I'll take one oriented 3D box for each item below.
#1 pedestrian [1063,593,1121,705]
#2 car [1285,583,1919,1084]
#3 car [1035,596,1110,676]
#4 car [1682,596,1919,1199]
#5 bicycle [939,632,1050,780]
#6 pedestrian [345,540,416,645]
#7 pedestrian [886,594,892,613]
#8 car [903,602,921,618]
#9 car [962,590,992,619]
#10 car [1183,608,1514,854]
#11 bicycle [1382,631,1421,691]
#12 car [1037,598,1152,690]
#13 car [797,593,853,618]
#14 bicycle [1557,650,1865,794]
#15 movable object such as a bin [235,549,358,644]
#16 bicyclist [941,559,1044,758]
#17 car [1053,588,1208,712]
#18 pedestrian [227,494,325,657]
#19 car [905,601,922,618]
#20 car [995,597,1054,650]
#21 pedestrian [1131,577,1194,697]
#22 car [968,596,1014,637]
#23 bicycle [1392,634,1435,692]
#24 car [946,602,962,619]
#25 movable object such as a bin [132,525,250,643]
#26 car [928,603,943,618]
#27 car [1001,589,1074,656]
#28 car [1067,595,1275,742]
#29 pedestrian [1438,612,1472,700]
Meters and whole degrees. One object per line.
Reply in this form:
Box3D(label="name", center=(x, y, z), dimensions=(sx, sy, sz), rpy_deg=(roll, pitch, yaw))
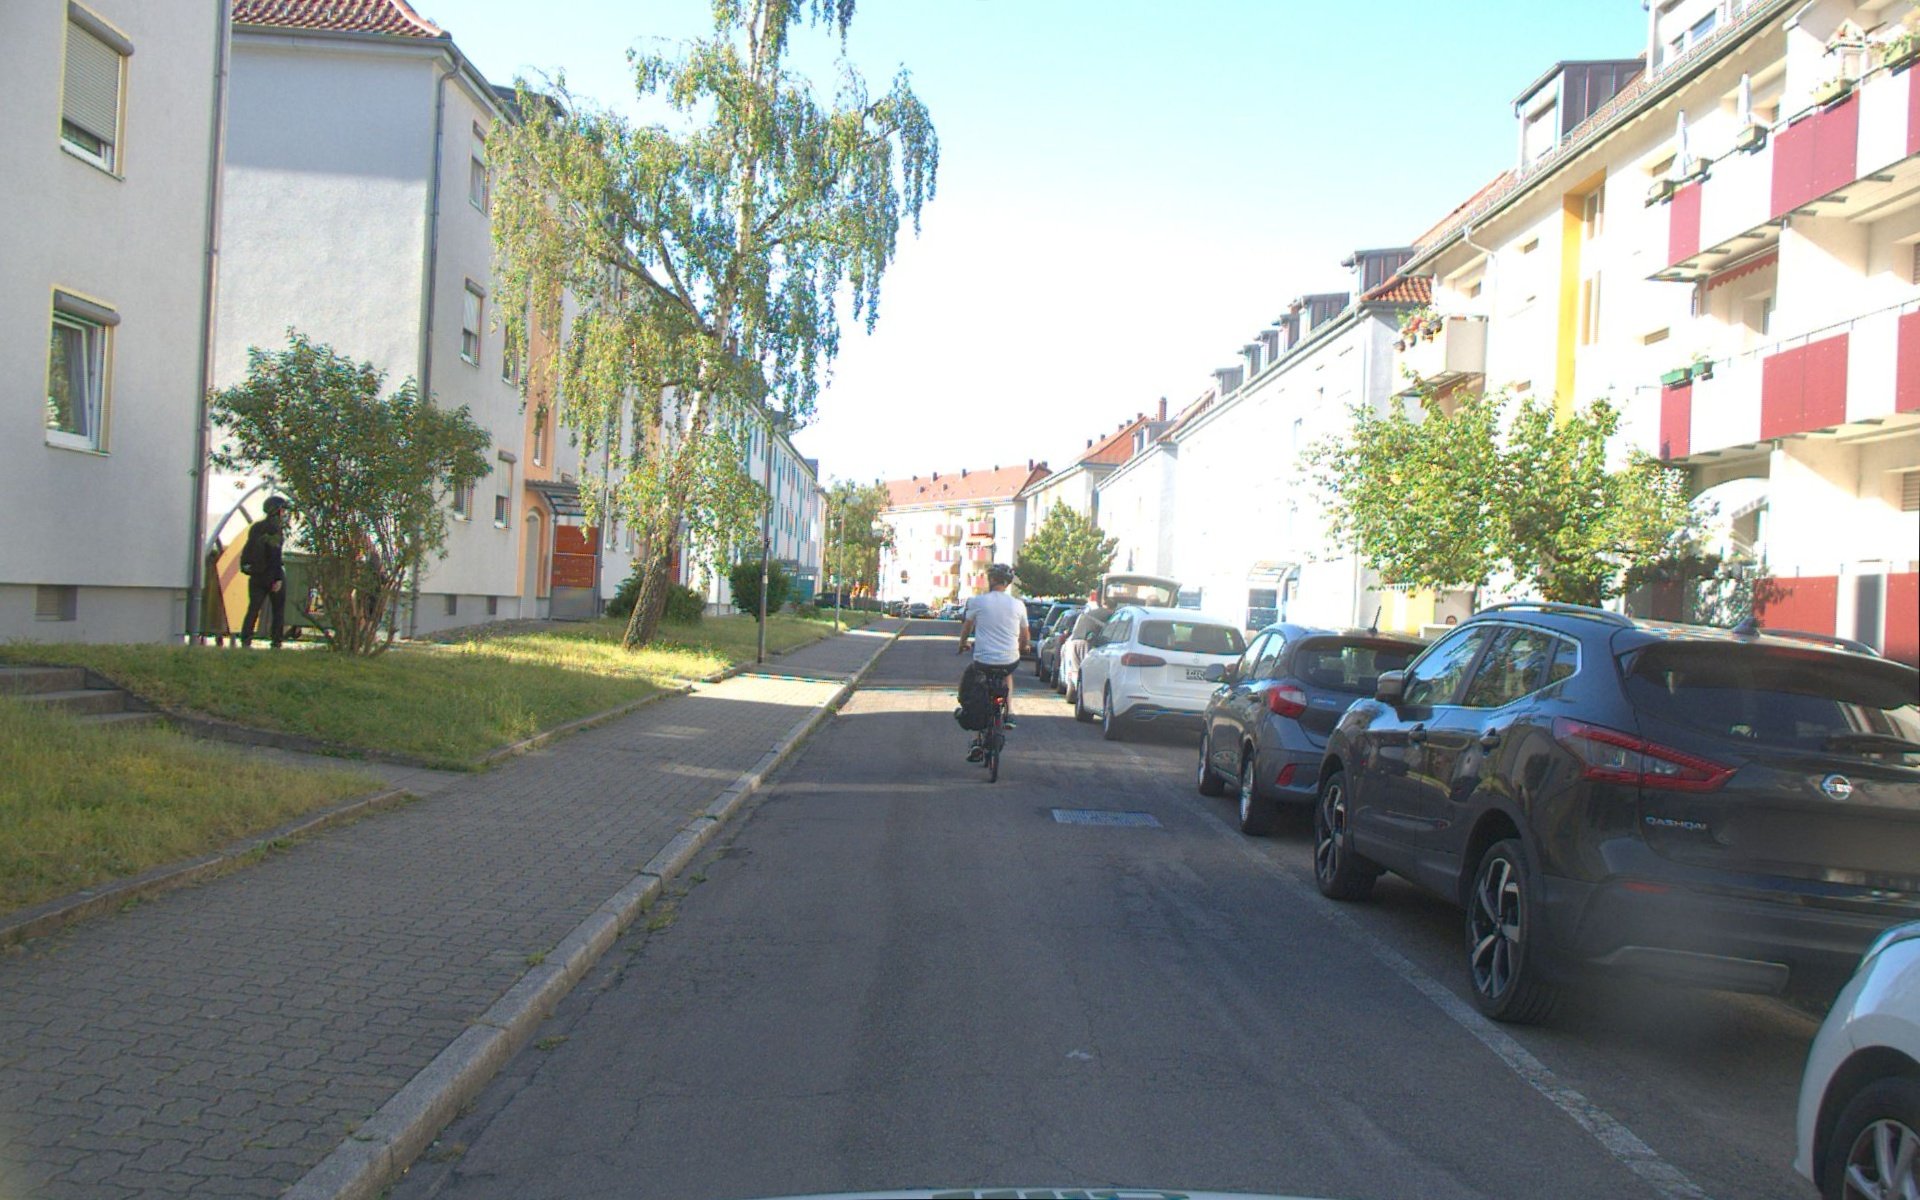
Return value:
Box3D(label="pedestrian", center=(1.942, 0.706, 24.395), dimensions=(0.724, 1.602, 0.879), rpy_deg=(2, 0, -1))
Box3D(label="car", center=(2.846, 0.773, 7.589), dimensions=(1.688, 1.606, 4.351), rpy_deg=(2, 0, -2))
Box3D(label="car", center=(2.448, 0.762, 36.322), dimensions=(1.449, 1.555, 2.942), rpy_deg=(5, 0, 3))
Box3D(label="car", center=(2.867, 0.841, 2.475), dimensions=(1.679, 1.535, 3.852), rpy_deg=(6, 0, -2))
Box3D(label="bicycle", center=(0.269, 0.887, 14.597), dimensions=(0.792, 1.148, 2.100), rpy_deg=(2, 0, -3))
Box3D(label="pedestrian", center=(-7.603, -0.093, 21.711), dimensions=(0.672, 1.340, 0.575), rpy_deg=(2, 0, -1))
Box3D(label="pedestrian", center=(-5.993, 0.266, 139.266), dimensions=(0.425, 1.602, 0.543), rpy_deg=(2, 0, -1))
Box3D(label="car", center=(-4.106, 0.848, 142.600), dimensions=(1.440, 1.358, 3.139), rpy_deg=(2, 0, -3))
Box3D(label="car", center=(1.130, 0.280, 110.202), dimensions=(1.641, 1.769, 3.940), rpy_deg=(4, 0, -3))
Box3D(label="car", center=(2.811, 0.866, 12.829), dimensions=(1.613, 1.474, 4.061), rpy_deg=(4, 0, 1))
Box3D(label="bicycle", center=(8.578, 1.171, 32.172), dimensions=(0.395, 1.106, 1.299), rpy_deg=(1, 0, 0))
Box3D(label="car", center=(2.518, 0.792, 31.848), dimensions=(1.660, 1.517, 3.983), rpy_deg=(4, 0, -2))
Box3D(label="car", center=(-10.134, 0.434, 124.261), dimensions=(4.149, 1.667, 1.581), rpy_deg=(3, 0, -5))
Box3D(label="bicycle", center=(6.769, 1.085, 15.019), dimensions=(2.373, 1.149, 0.880), rpy_deg=(2, 0, 5))
Box3D(label="movable object such as a bin", center=(-10.443, -0.049, 26.076), dimensions=(1.360, 1.359, 1.228), rpy_deg=(4, 0, -1))
Box3D(label="bicyclist", center=(0.274, 0.499, 14.516), dimensions=(0.792, 1.672, 0.898), rpy_deg=(2, 0, -3))
Box3D(label="car", center=(2.617, 0.721, 26.520), dimensions=(1.953, 1.640, 4.996), rpy_deg=(4, 0, 1))
Box3D(label="pedestrian", center=(-8.026, -0.279, 19.434), dimensions=(0.789, 1.855, 0.718), rpy_deg=(2, 0, -1))
Box3D(label="car", center=(-4.169, 0.841, 147.503), dimensions=(1.440, 1.358, 3.139), rpy_deg=(2, 0, -3))
Box3D(label="car", center=(1.969, 0.707, 51.586), dimensions=(1.608, 1.524, 4.156), rpy_deg=(2, 0, 0))
Box3D(label="pedestrian", center=(2.977, 0.532, 24.304), dimensions=(0.803, 1.717, 0.604), rpy_deg=(1, 0, -2))
Box3D(label="car", center=(1.386, 0.754, 75.905), dimensions=(1.824, 1.697, 4.126), rpy_deg=(5, 0, -1))
Box3D(label="bicycle", center=(8.567, 1.191, 31.263), dimensions=(0.725, 1.065, 0.239), rpy_deg=(1, 0, 1))
Box3D(label="car", center=(-0.618, 0.983, 159.438), dimensions=(1.354, 1.523, 3.075), rpy_deg=(2, 0, -3))
Box3D(label="movable object such as a bin", center=(-9.914, -0.206, 21.362), dimensions=(1.062, 1.430, 0.812), rpy_deg=(3, 0, -1))
Box3D(label="car", center=(-2.570, 1.099, 172.296), dimensions=(1.440, 1.542, 3.075), rpy_deg=(2, 0, -3))
Box3D(label="car", center=(2.135, 0.593, 46.493), dimensions=(1.747, 1.676, 4.468), rpy_deg=(4, 0, 0))
Box3D(label="car", center=(2.488, 0.756, 20.603), dimensions=(1.737, 1.531, 4.478), rpy_deg=(4, 0, -3))
Box3D(label="pedestrian", center=(8.649, 0.981, 28.914), dimensions=(0.441, 1.521, 0.360), rpy_deg=(2, -2, 0))
